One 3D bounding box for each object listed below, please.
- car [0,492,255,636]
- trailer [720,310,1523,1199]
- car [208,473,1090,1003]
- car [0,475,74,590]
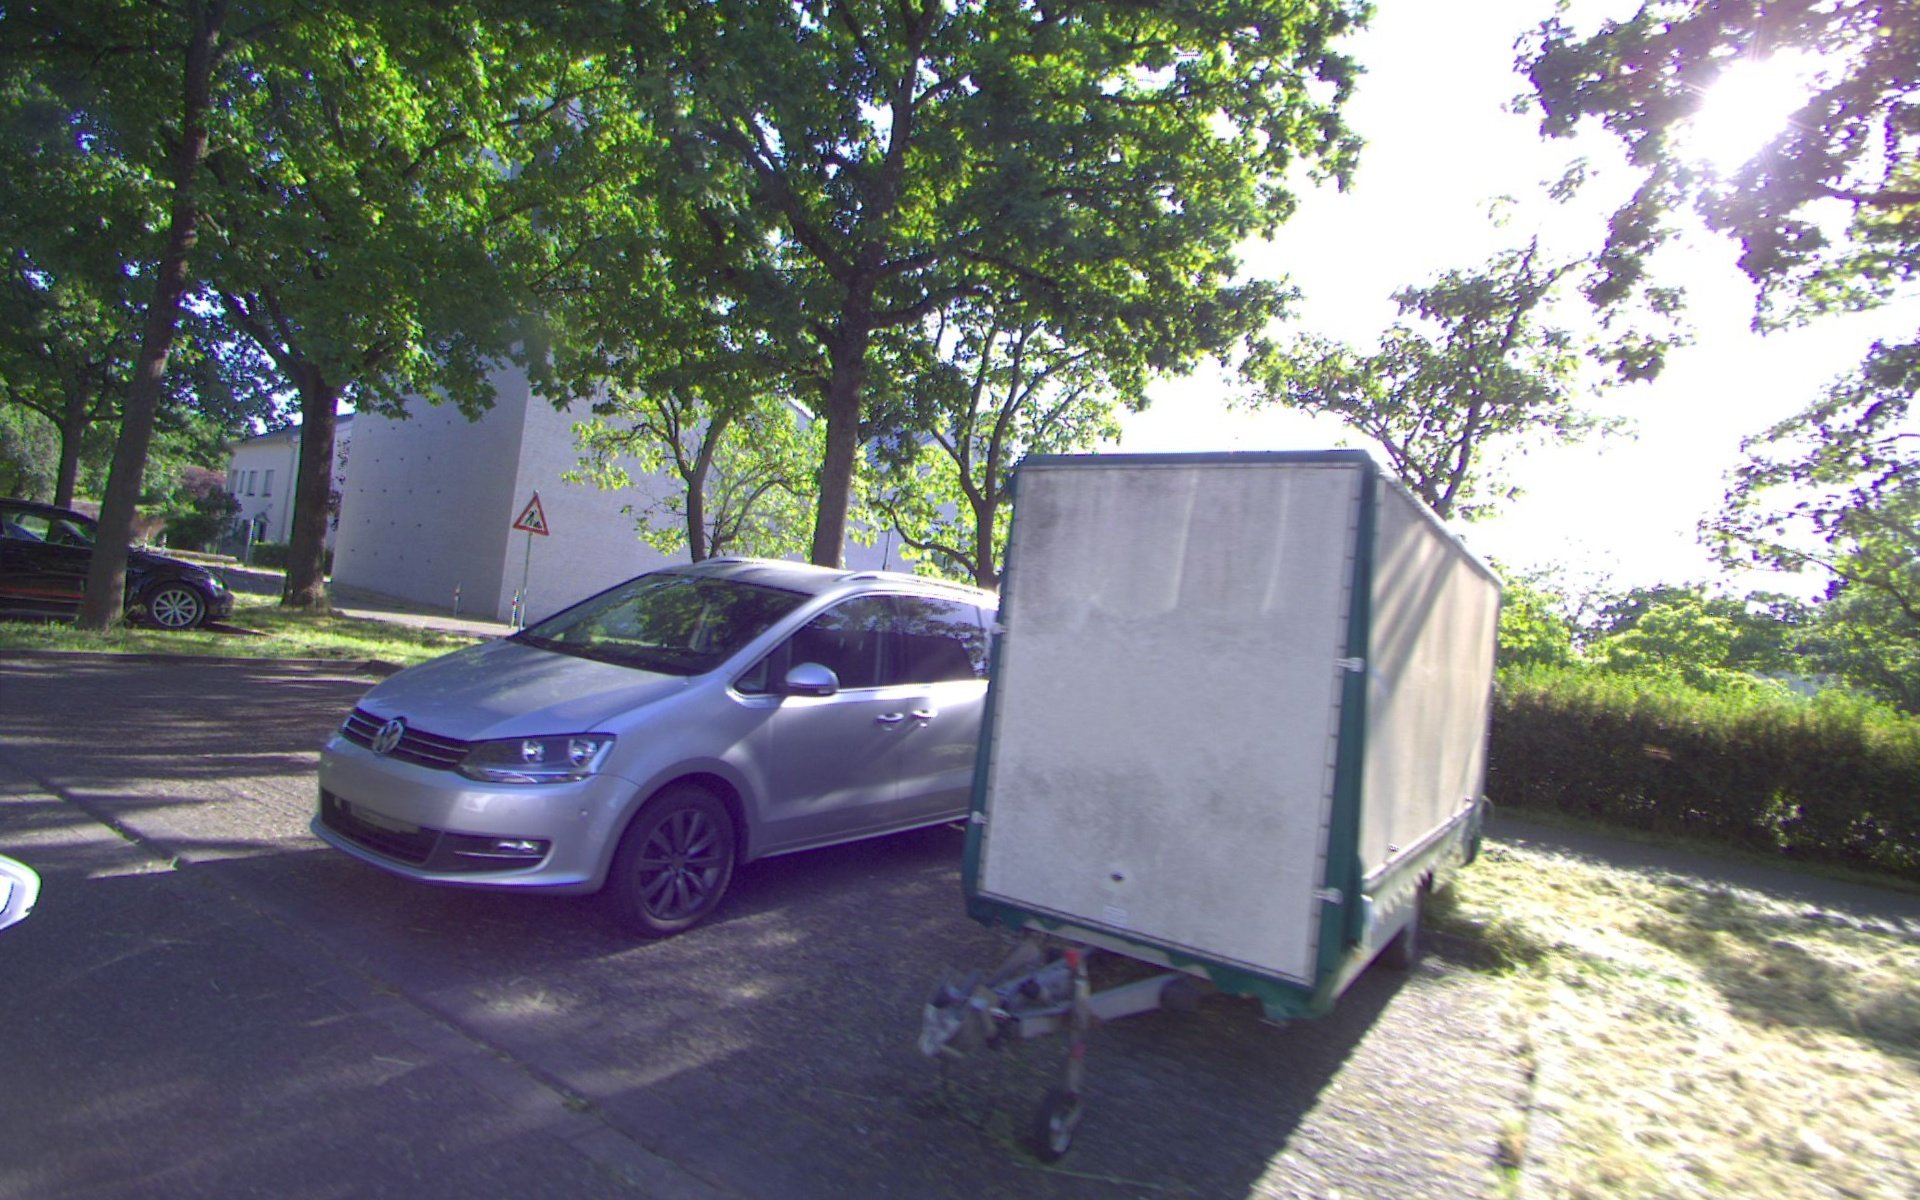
[{"bbox_3d":[-11.836,-0.547,12.711,2.044,1.537,4.250,7,-1,33],"label":"car"},{"bbox_3d":[1.605,0.629,5.232,1.659,2.346,5.779,7,0,34],"label":"trailer"},{"bbox_3d":[-1.200,0.579,5.889,1.955,1.743,4.647,7,-1,32],"label":"car"},{"bbox_3d":[-17.418,-1.357,15.996,1.904,1.822,4.536,7,-1,32],"label":"car"}]
